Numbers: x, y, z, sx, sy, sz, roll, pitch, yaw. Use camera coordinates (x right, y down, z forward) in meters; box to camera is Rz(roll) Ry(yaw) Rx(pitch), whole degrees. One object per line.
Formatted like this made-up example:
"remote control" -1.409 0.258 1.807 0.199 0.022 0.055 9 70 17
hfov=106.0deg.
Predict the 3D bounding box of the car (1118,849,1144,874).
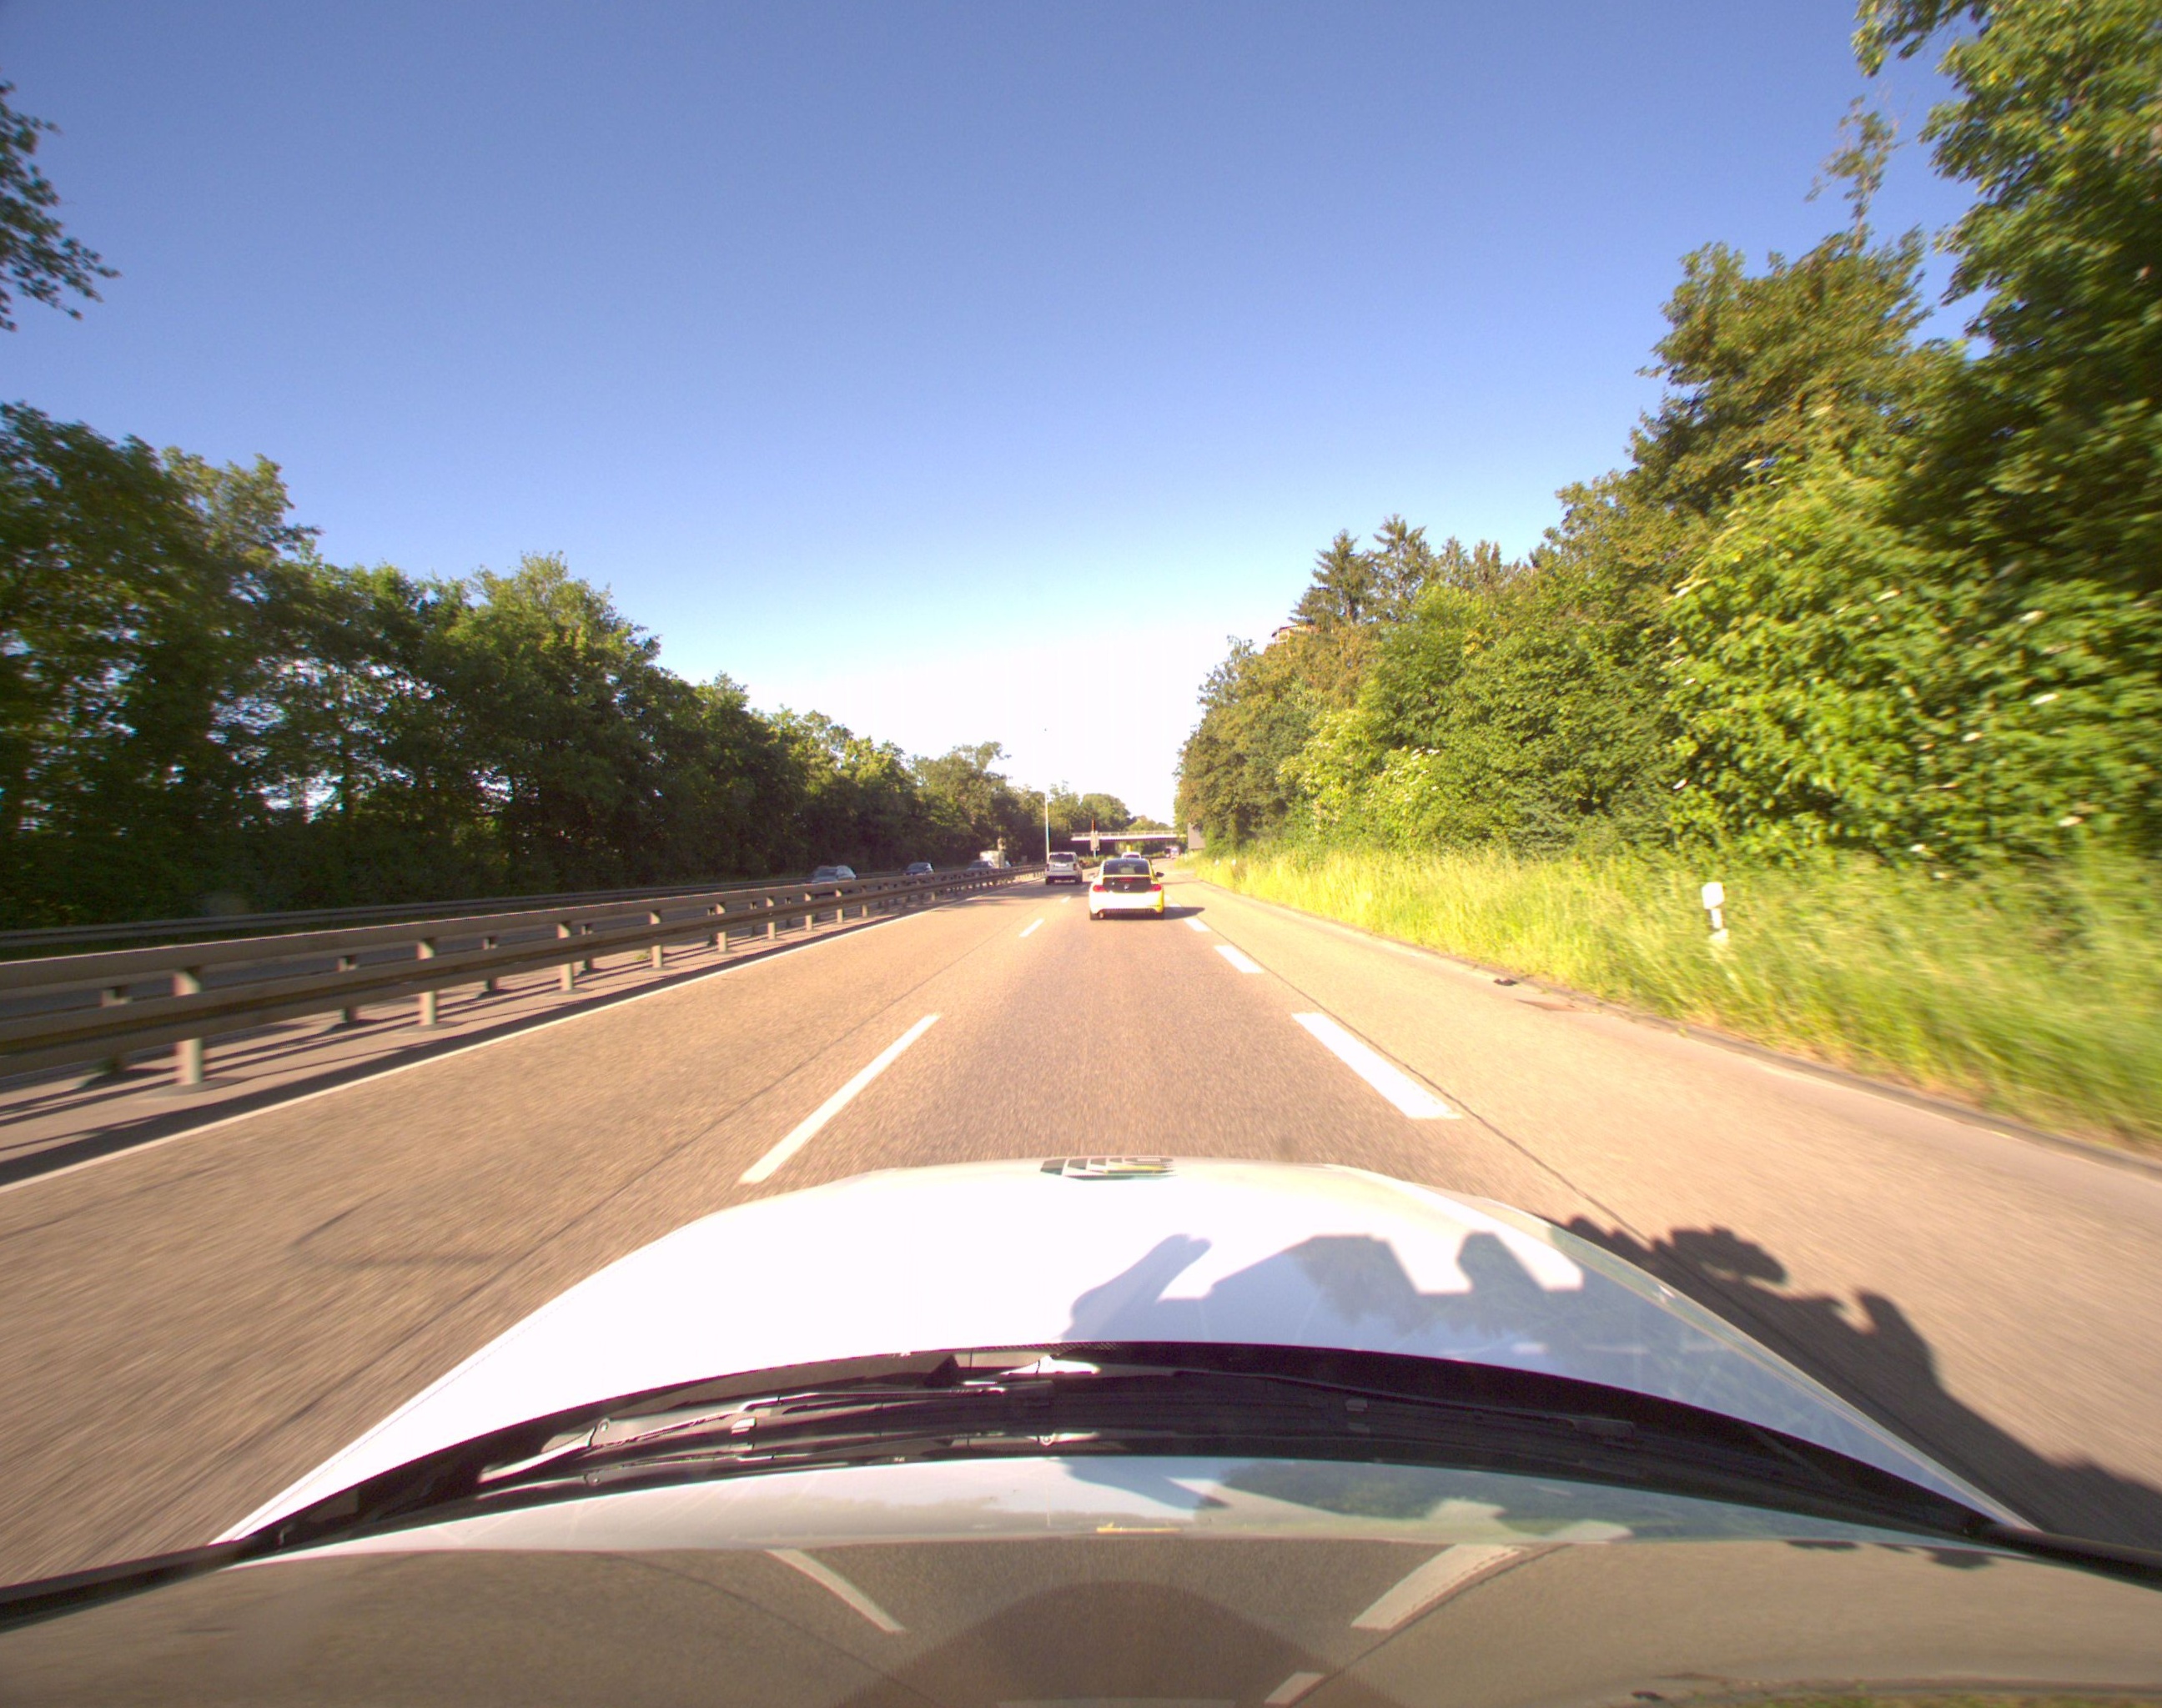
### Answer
"car" 3.758 0.550 62.063 1.856 1.770 4.473 -2 0 3

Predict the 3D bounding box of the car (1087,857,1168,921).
"car" 1.103 0.811 20.861 1.873 1.461 4.356 0 0 1

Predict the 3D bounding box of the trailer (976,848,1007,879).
"trailer" -7.647 0.787 69.897 1.987 2.437 4.607 -2 0 1

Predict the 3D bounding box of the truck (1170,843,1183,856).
"truck" 30.096 -1.372 257.381 3.475 4.173 8.884 -2 -1 9

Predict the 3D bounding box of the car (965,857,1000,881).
"car" -7.802 1.138 64.944 2.064 1.748 5.225 -2 0 1

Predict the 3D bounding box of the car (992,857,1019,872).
"car" -8.774 1.210 95.184 2.110 1.725 5.882 -1 0 4

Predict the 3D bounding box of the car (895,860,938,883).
"car" -12.563 1.300 62.593 2.063 1.614 5.061 -1 0 2

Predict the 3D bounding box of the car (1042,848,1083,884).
"car" -1.014 0.636 45.168 2.079 1.828 3.998 -2 0 -1

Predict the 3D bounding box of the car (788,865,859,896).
"car" -13.703 1.374 43.758 2.063 1.467 4.988 -1 0 2

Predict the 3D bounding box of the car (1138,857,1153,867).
"car" 10.175 1.254 127.560 1.982 1.398 4.010 -1 0 9
